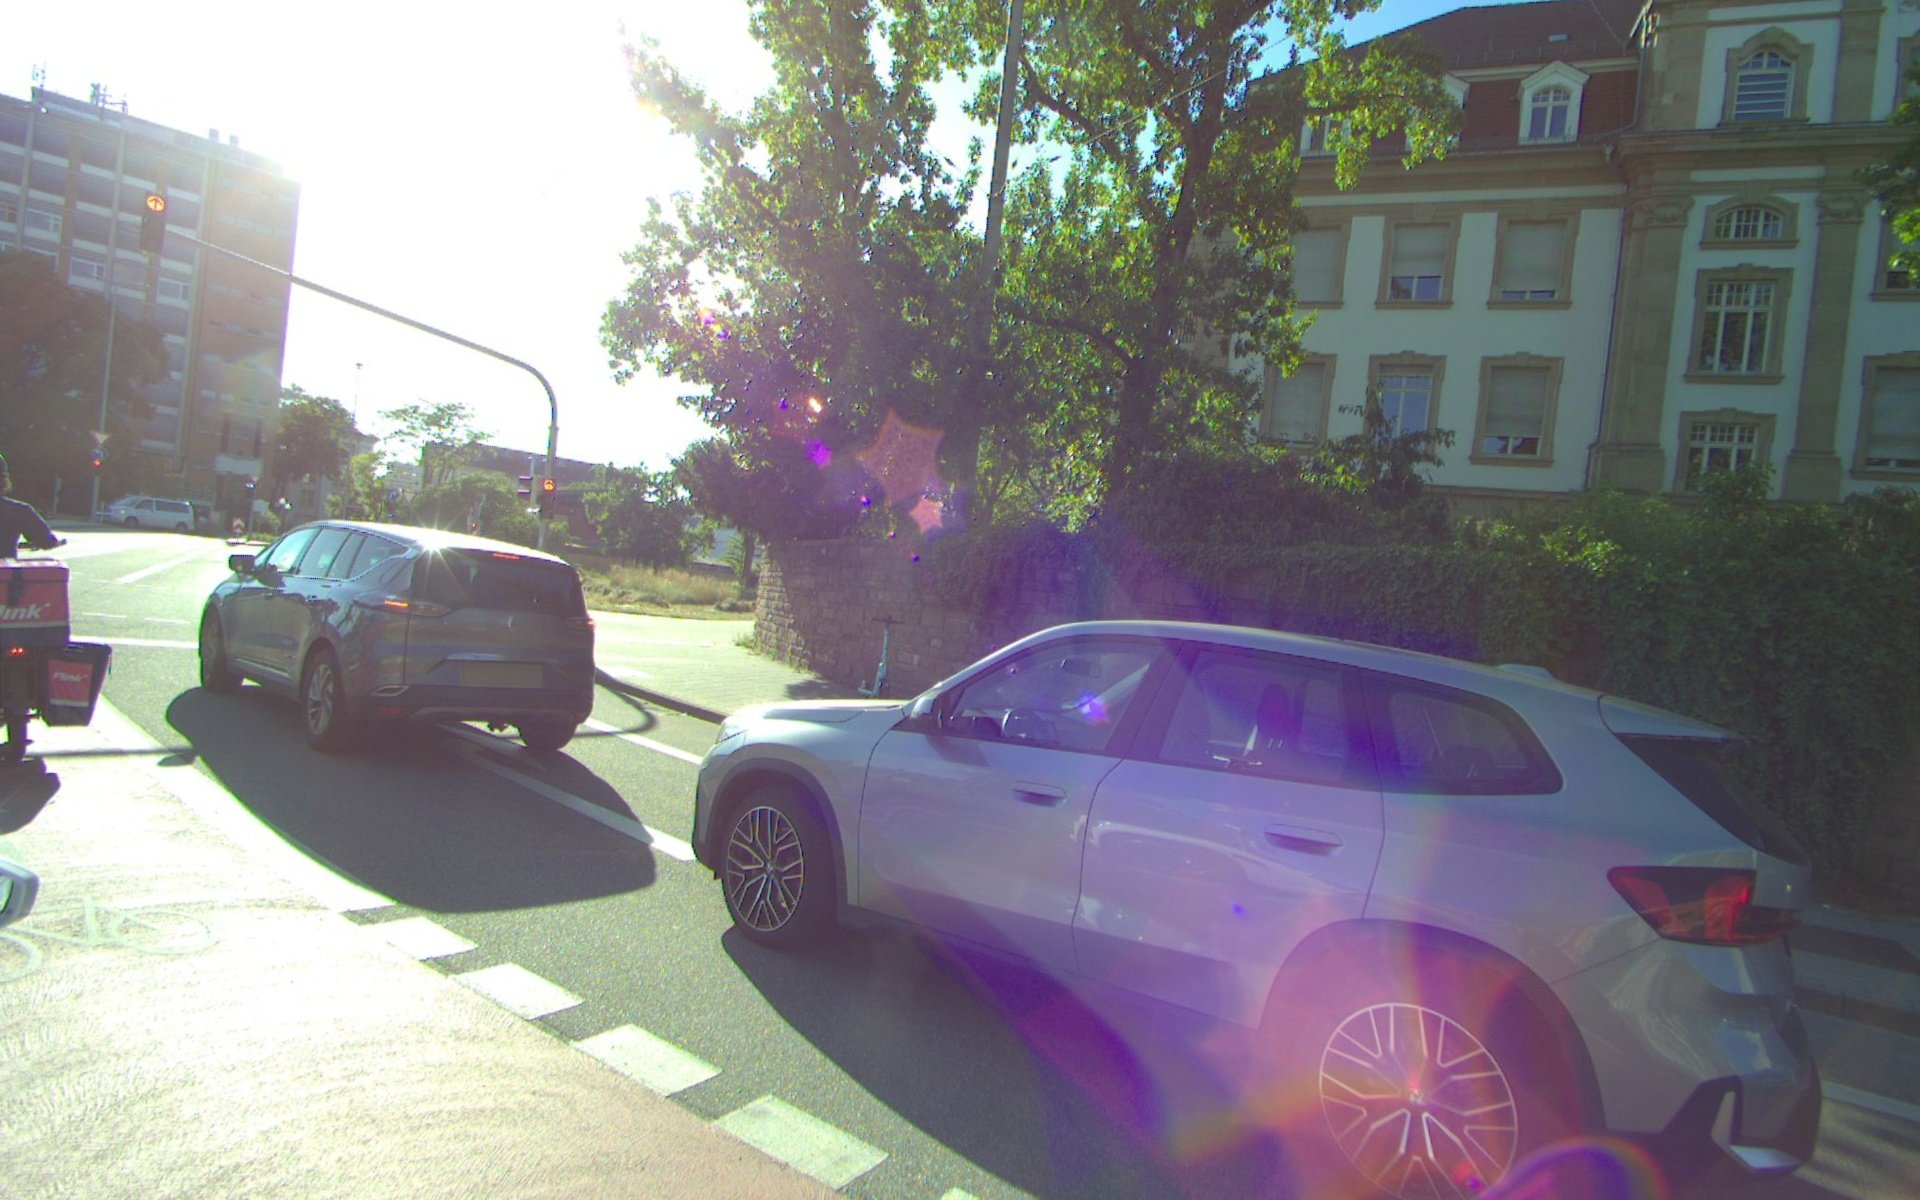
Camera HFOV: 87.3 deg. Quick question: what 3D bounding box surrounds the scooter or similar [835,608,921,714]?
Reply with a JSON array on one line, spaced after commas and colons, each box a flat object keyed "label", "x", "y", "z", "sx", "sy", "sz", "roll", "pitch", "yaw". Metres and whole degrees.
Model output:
[{"label": "scooter or similar", "x": -1.156, "y": 0.820, "z": 13.882, "sx": 0.569, "sy": 1.285, "sz": 1.414, "roll": 6, "pitch": 0, "yaw": -27}]

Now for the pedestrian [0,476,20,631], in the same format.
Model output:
[{"label": "pedestrian", "x": -8.712, "y": -0.300, "z": 8.748, "sx": 0.585, "sy": 1.617, "sz": 1.013, "roll": 8, "pitch": -1, "yaw": -41}]

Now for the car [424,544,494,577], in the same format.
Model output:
[{"label": "car", "x": -38.635, "y": -3.034, "z": 77.677, "sx": 4.647, "sy": 1.969, "sz": 1.903, "roll": 7, "pitch": 0, "yaw": -25}]

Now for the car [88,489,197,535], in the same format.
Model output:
[{"label": "car", "x": -47.851, "y": -5.110, "z": 59.014, "sx": 1.878, "sy": 1.969, "sz": 4.708, "roll": 6, "pitch": 0, "yaw": 11}]

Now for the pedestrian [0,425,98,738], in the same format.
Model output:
[{"label": "pedestrian", "x": -6.217, "y": -0.145, "z": 6.393, "sx": 0.943, "sy": 1.890, "sz": 0.806, "roll": 6, "pitch": -1, "yaw": 40}]

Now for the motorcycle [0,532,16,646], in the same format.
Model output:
[{"label": "motorcycle", "x": -8.936, "y": -0.081, "z": 8.922, "sx": 0.611, "sy": 1.110, "sz": 2.334, "roll": 8, "pitch": -2, "yaw": -41}]

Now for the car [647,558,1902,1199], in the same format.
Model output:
[{"label": "car", "x": 0.825, "y": 0.883, "z": 4.244, "sx": 4.263, "sy": 1.612, "sz": 1.788, "roll": 6, "pitch": -2, "yaw": 37}]

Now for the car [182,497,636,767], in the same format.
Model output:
[{"label": "car", "x": -4.838, "y": 0.164, "z": 8.556, "sx": 4.307, "sy": 1.709, "sz": 1.830, "roll": 6, "pitch": -2, "yaw": 40}]

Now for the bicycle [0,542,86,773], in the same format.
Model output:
[{"label": "bicycle", "x": -5.991, "y": 0.257, "z": 6.179, "sx": 2.340, "sy": 1.185, "sz": 0.553, "roll": 6, "pitch": -2, "yaw": 42}]
